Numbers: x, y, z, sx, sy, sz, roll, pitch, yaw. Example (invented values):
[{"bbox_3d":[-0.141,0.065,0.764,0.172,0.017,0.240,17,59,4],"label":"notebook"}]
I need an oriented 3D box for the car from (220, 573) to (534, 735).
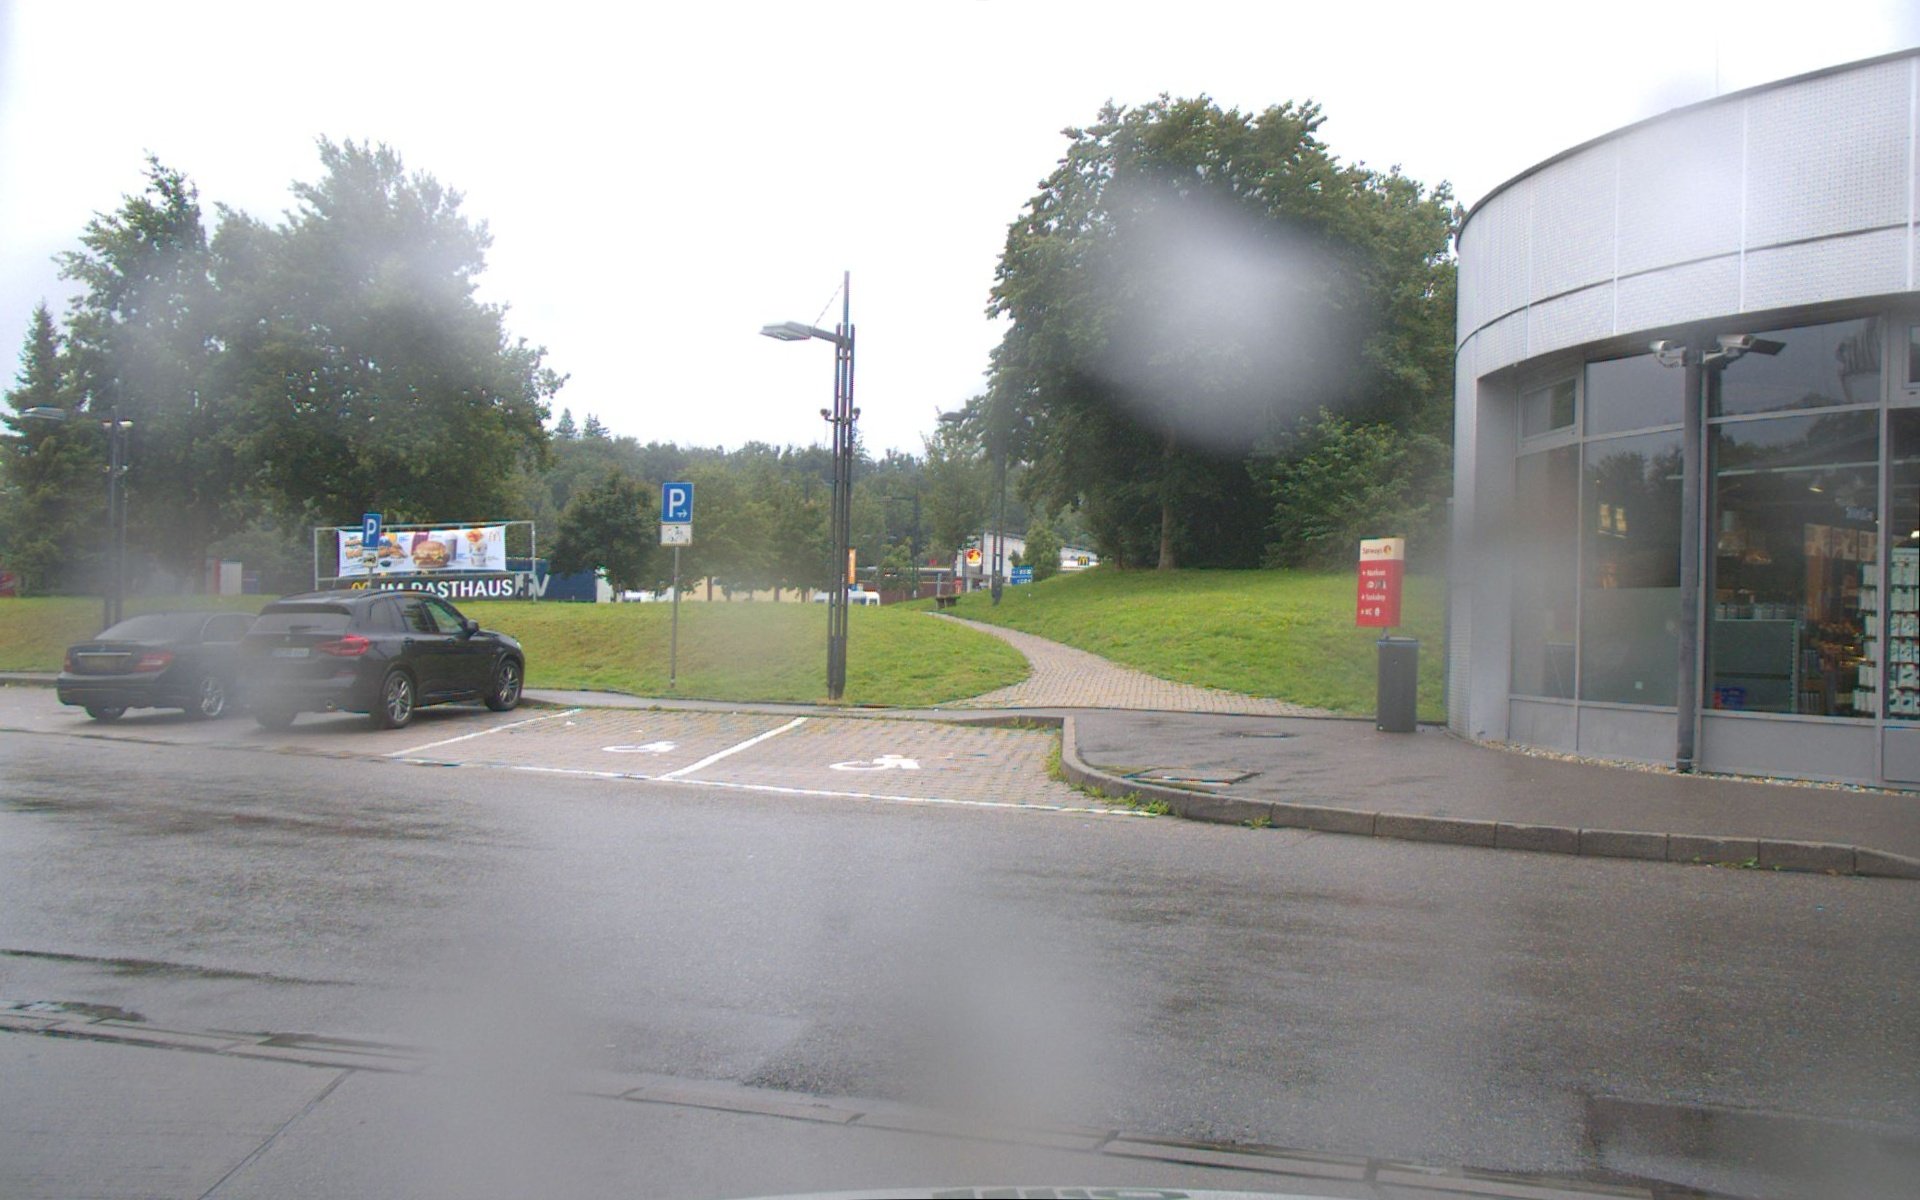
[{"bbox_3d":[-7.331,0.611,21.326,1.844,1.860,4.417,0,0,11],"label":"car"}]

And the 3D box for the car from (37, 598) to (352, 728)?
[{"bbox_3d":[-10.356,0.783,22.765,1.844,1.592,4.189,0,0,11],"label":"car"}]

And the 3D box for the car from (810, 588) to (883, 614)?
[{"bbox_3d":[-9.174,0.067,133.577,5.310,2.049,2.456,1,0,19],"label":"car"}]
